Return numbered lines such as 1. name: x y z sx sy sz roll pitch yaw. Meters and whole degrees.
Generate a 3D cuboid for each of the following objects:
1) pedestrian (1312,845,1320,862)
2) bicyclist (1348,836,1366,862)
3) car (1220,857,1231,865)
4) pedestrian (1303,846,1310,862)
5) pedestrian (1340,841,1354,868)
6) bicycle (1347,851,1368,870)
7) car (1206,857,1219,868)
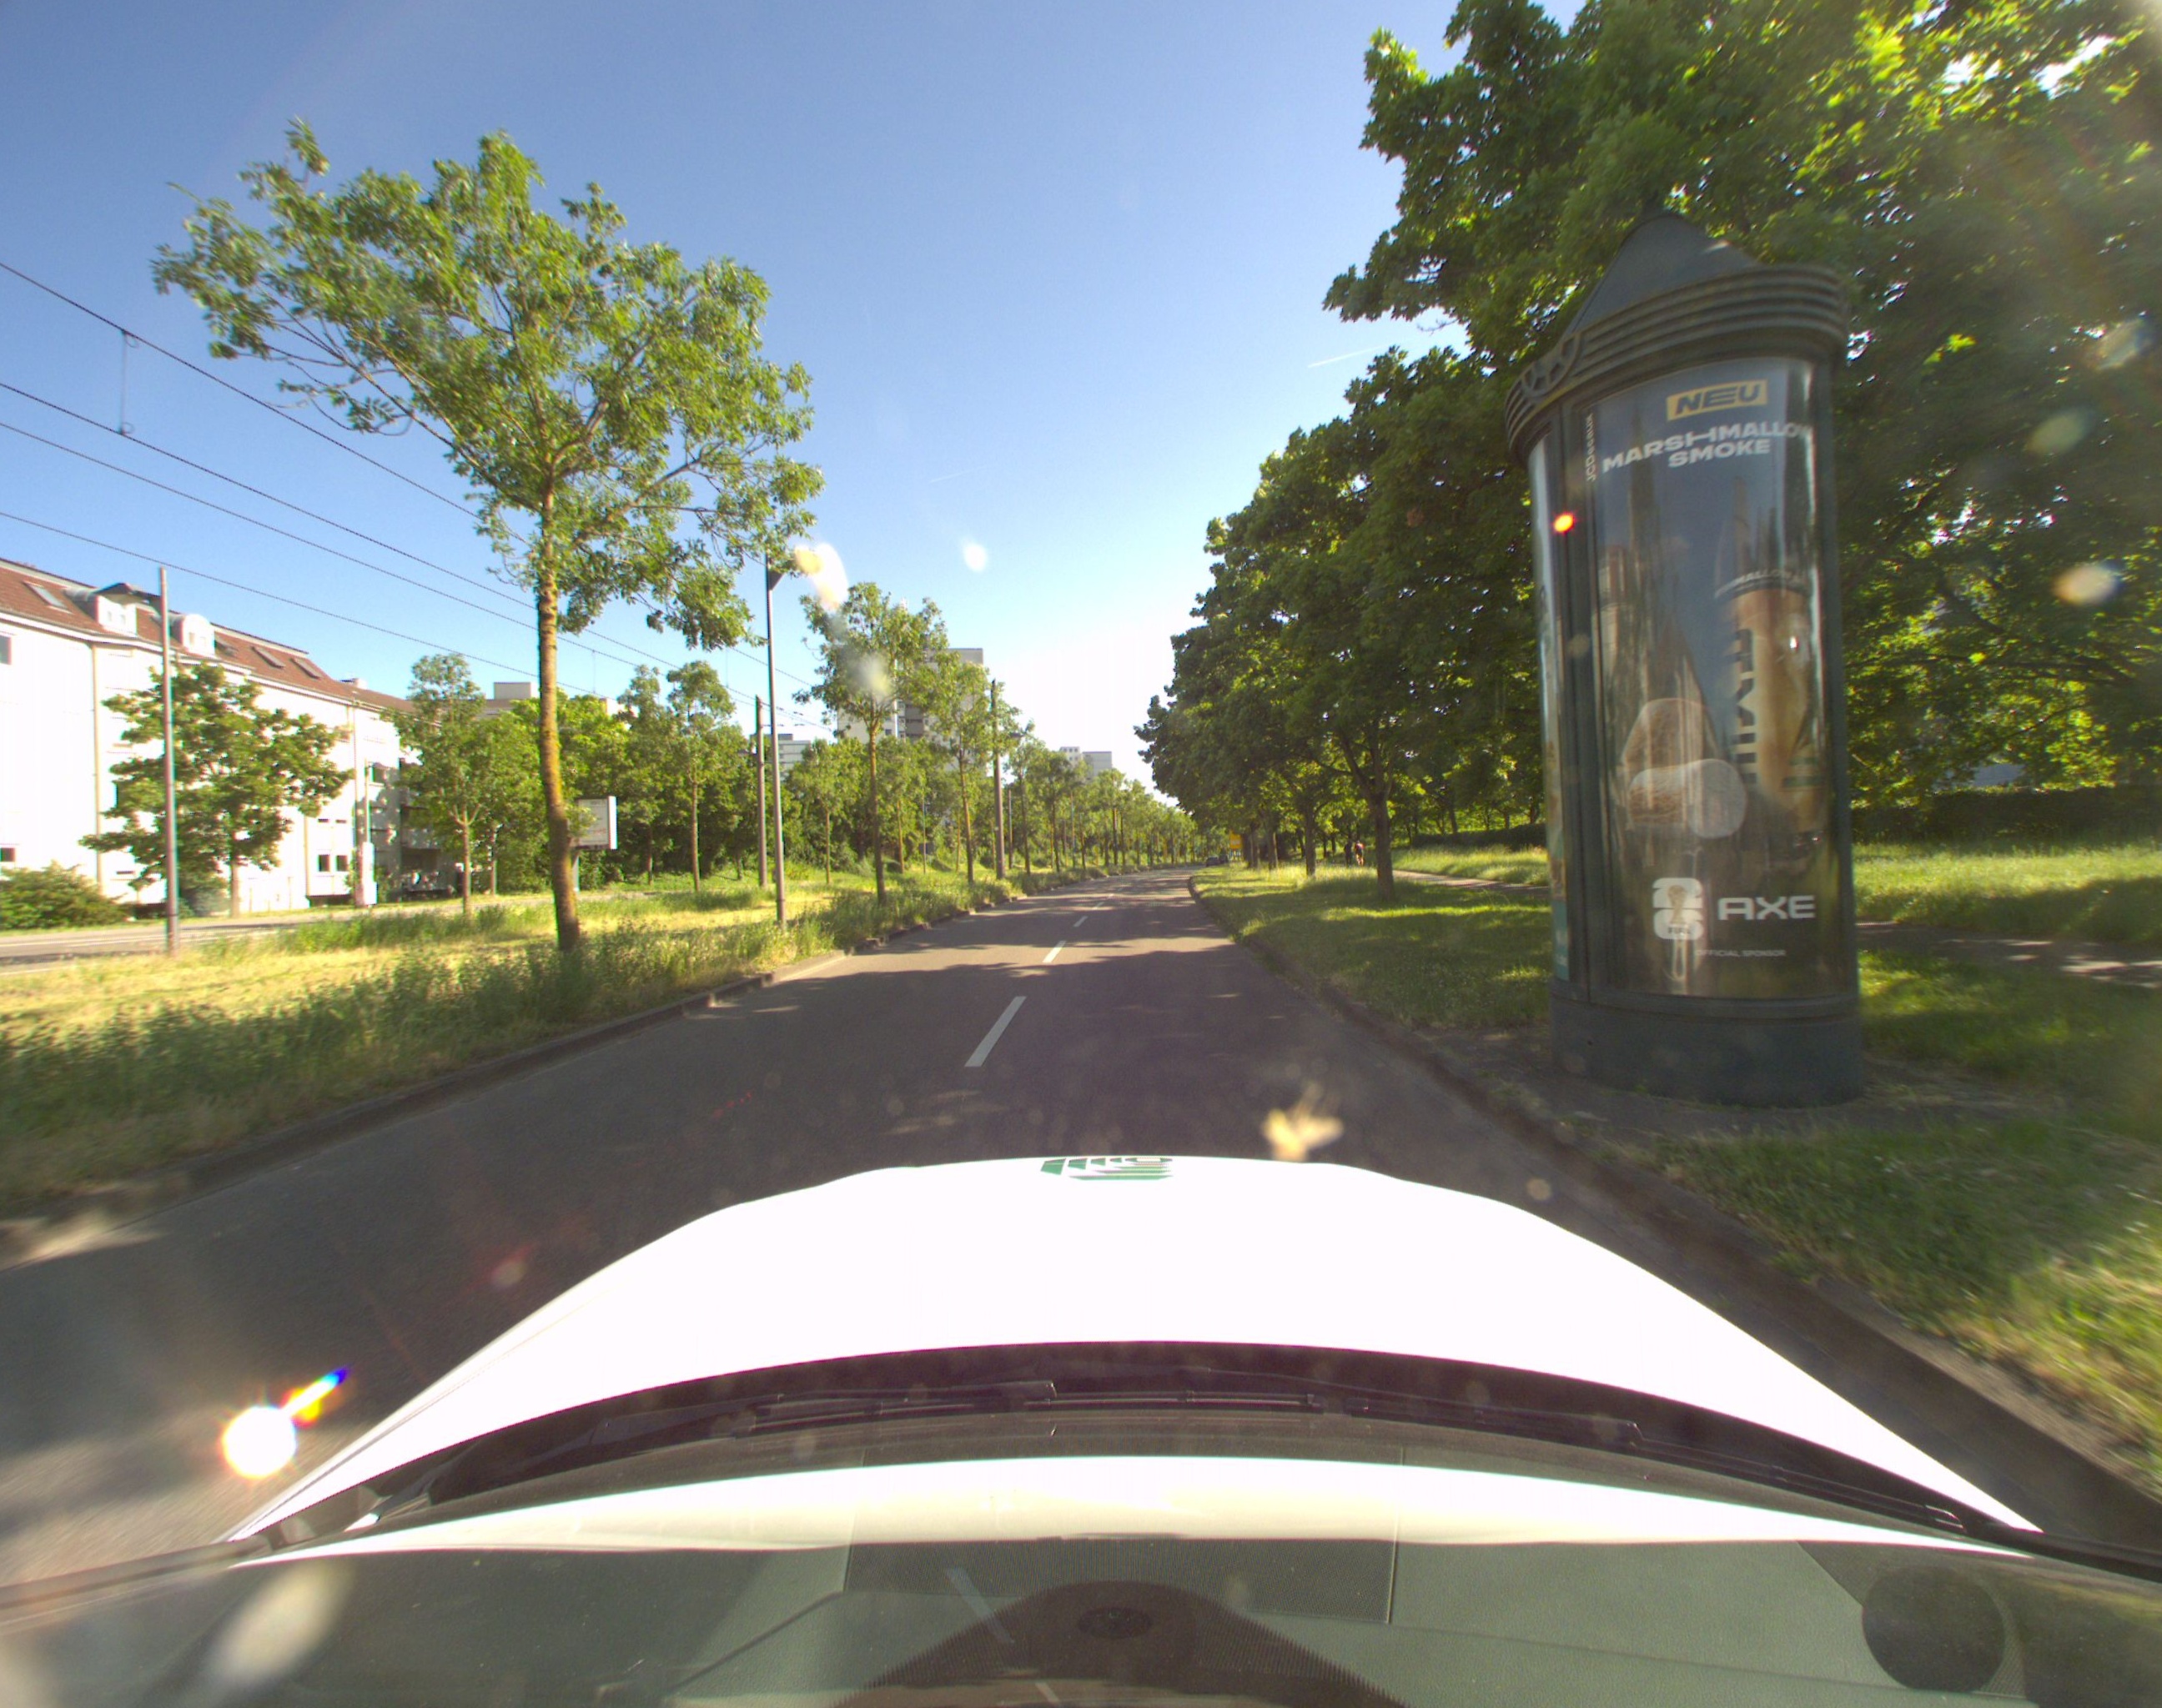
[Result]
1. pedestrian: 24.440 -0.043 84.788 0.630 1.692 0.848 -3 -1 23
2. bicyclist: 15.857 -0.309 46.789 0.782 1.450 0.850 -3 -1 26
3. car: 27.684 1.318 156.329 1.622 1.498 4.252 -2 -1 15
4. pedestrian: 23.537 0.038 85.101 0.542 1.622 0.848 -3 -1 23
5. pedestrian: 18.084 0.032 55.325 0.711 1.803 0.796 -2 -1 10
6. bicycle: 15.891 0.357 46.764 0.787 1.047 2.155 -3 -1 26
7. car: 18.487 1.145 114.597 1.623 1.498 4.248 -1 -1 12
